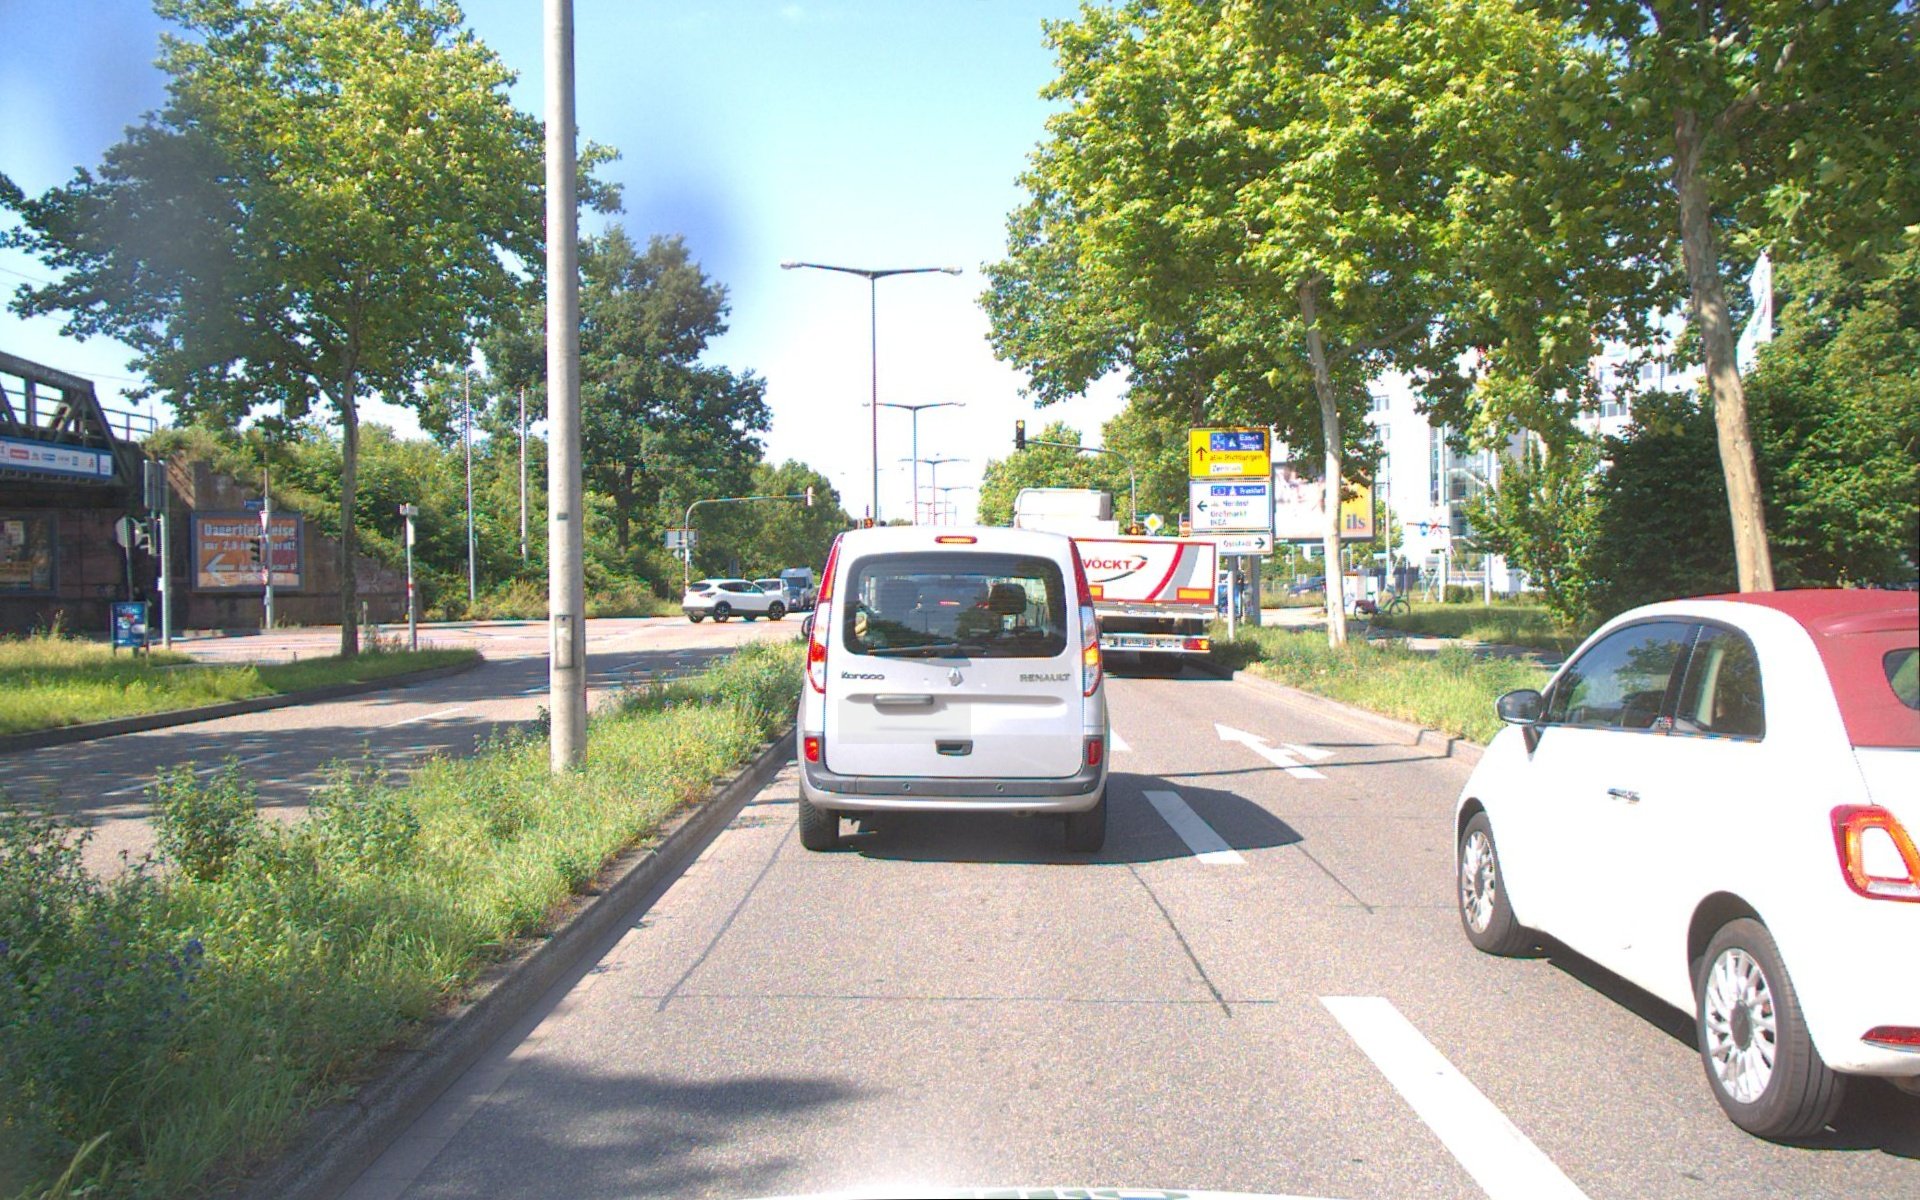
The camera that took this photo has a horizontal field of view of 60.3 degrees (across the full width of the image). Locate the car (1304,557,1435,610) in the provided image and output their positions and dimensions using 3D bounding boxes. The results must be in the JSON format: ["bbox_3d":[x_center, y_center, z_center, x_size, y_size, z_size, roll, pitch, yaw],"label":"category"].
[{"bbox_3d":[13.341,-0.540,54.047,3.903,1.691,1.724,0,0,5],"label":"car"}]

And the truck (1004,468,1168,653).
[{"bbox_3d":[2.722,-0.850,38.131,3.009,3.823,7.474,0,0,-2],"label":"truck"}]

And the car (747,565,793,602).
[{"bbox_3d":[-10.334,-0.894,90.248,1.953,1.924,4.986,-3,0,-2],"label":"car"}]

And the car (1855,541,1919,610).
[{"bbox_3d":[25.379,-0.623,42.725,3.684,1.746,1.757,1,0,43],"label":"car"}]

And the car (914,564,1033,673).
[{"bbox_3d":[0.155,0.283,28.059,1.773,1.713,3.998,0,0,-3],"label":"car"}]

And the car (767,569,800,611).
[{"bbox_3d":[-11.434,-0.637,106.910,2.019,2.659,5.861,0,0,-7],"label":"car"}]

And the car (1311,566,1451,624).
[{"bbox_3d":[12.781,-0.162,50.387,3.903,1.691,1.724,0,0,5],"label":"car"}]

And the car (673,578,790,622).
[{"bbox_3d":[-8.703,-0.010,63.149,4.082,1.655,1.968,0,0,-44],"label":"car"}]

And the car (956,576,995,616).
[{"bbox_3d":[0.812,-0.208,87.665,1.953,2.049,3.999,0,0,-1],"label":"car"}]

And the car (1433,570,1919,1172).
[{"bbox_3d":[2.953,0.653,5.780,1.627,1.461,3.520,0,0,1],"label":"car"}]

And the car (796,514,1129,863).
[{"bbox_3d":[-0.021,0.447,10.559,1.713,1.803,3.948,0,0,-1],"label":"car"}]

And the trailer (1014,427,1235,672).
[{"bbox_3d":[2.774,-0.837,32.014,2.954,3.806,12.239,0,0,0],"label":"trailer"}]

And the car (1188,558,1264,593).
[{"bbox_3d":[15.920,-1.469,99.087,4.427,2.049,2.002,0,0,8],"label":"car"}]

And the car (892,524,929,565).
[{"bbox_3d":[-2.646,-2.934,87.924,1.681,2.049,3.995,0,0,-6],"label":"car"}]
